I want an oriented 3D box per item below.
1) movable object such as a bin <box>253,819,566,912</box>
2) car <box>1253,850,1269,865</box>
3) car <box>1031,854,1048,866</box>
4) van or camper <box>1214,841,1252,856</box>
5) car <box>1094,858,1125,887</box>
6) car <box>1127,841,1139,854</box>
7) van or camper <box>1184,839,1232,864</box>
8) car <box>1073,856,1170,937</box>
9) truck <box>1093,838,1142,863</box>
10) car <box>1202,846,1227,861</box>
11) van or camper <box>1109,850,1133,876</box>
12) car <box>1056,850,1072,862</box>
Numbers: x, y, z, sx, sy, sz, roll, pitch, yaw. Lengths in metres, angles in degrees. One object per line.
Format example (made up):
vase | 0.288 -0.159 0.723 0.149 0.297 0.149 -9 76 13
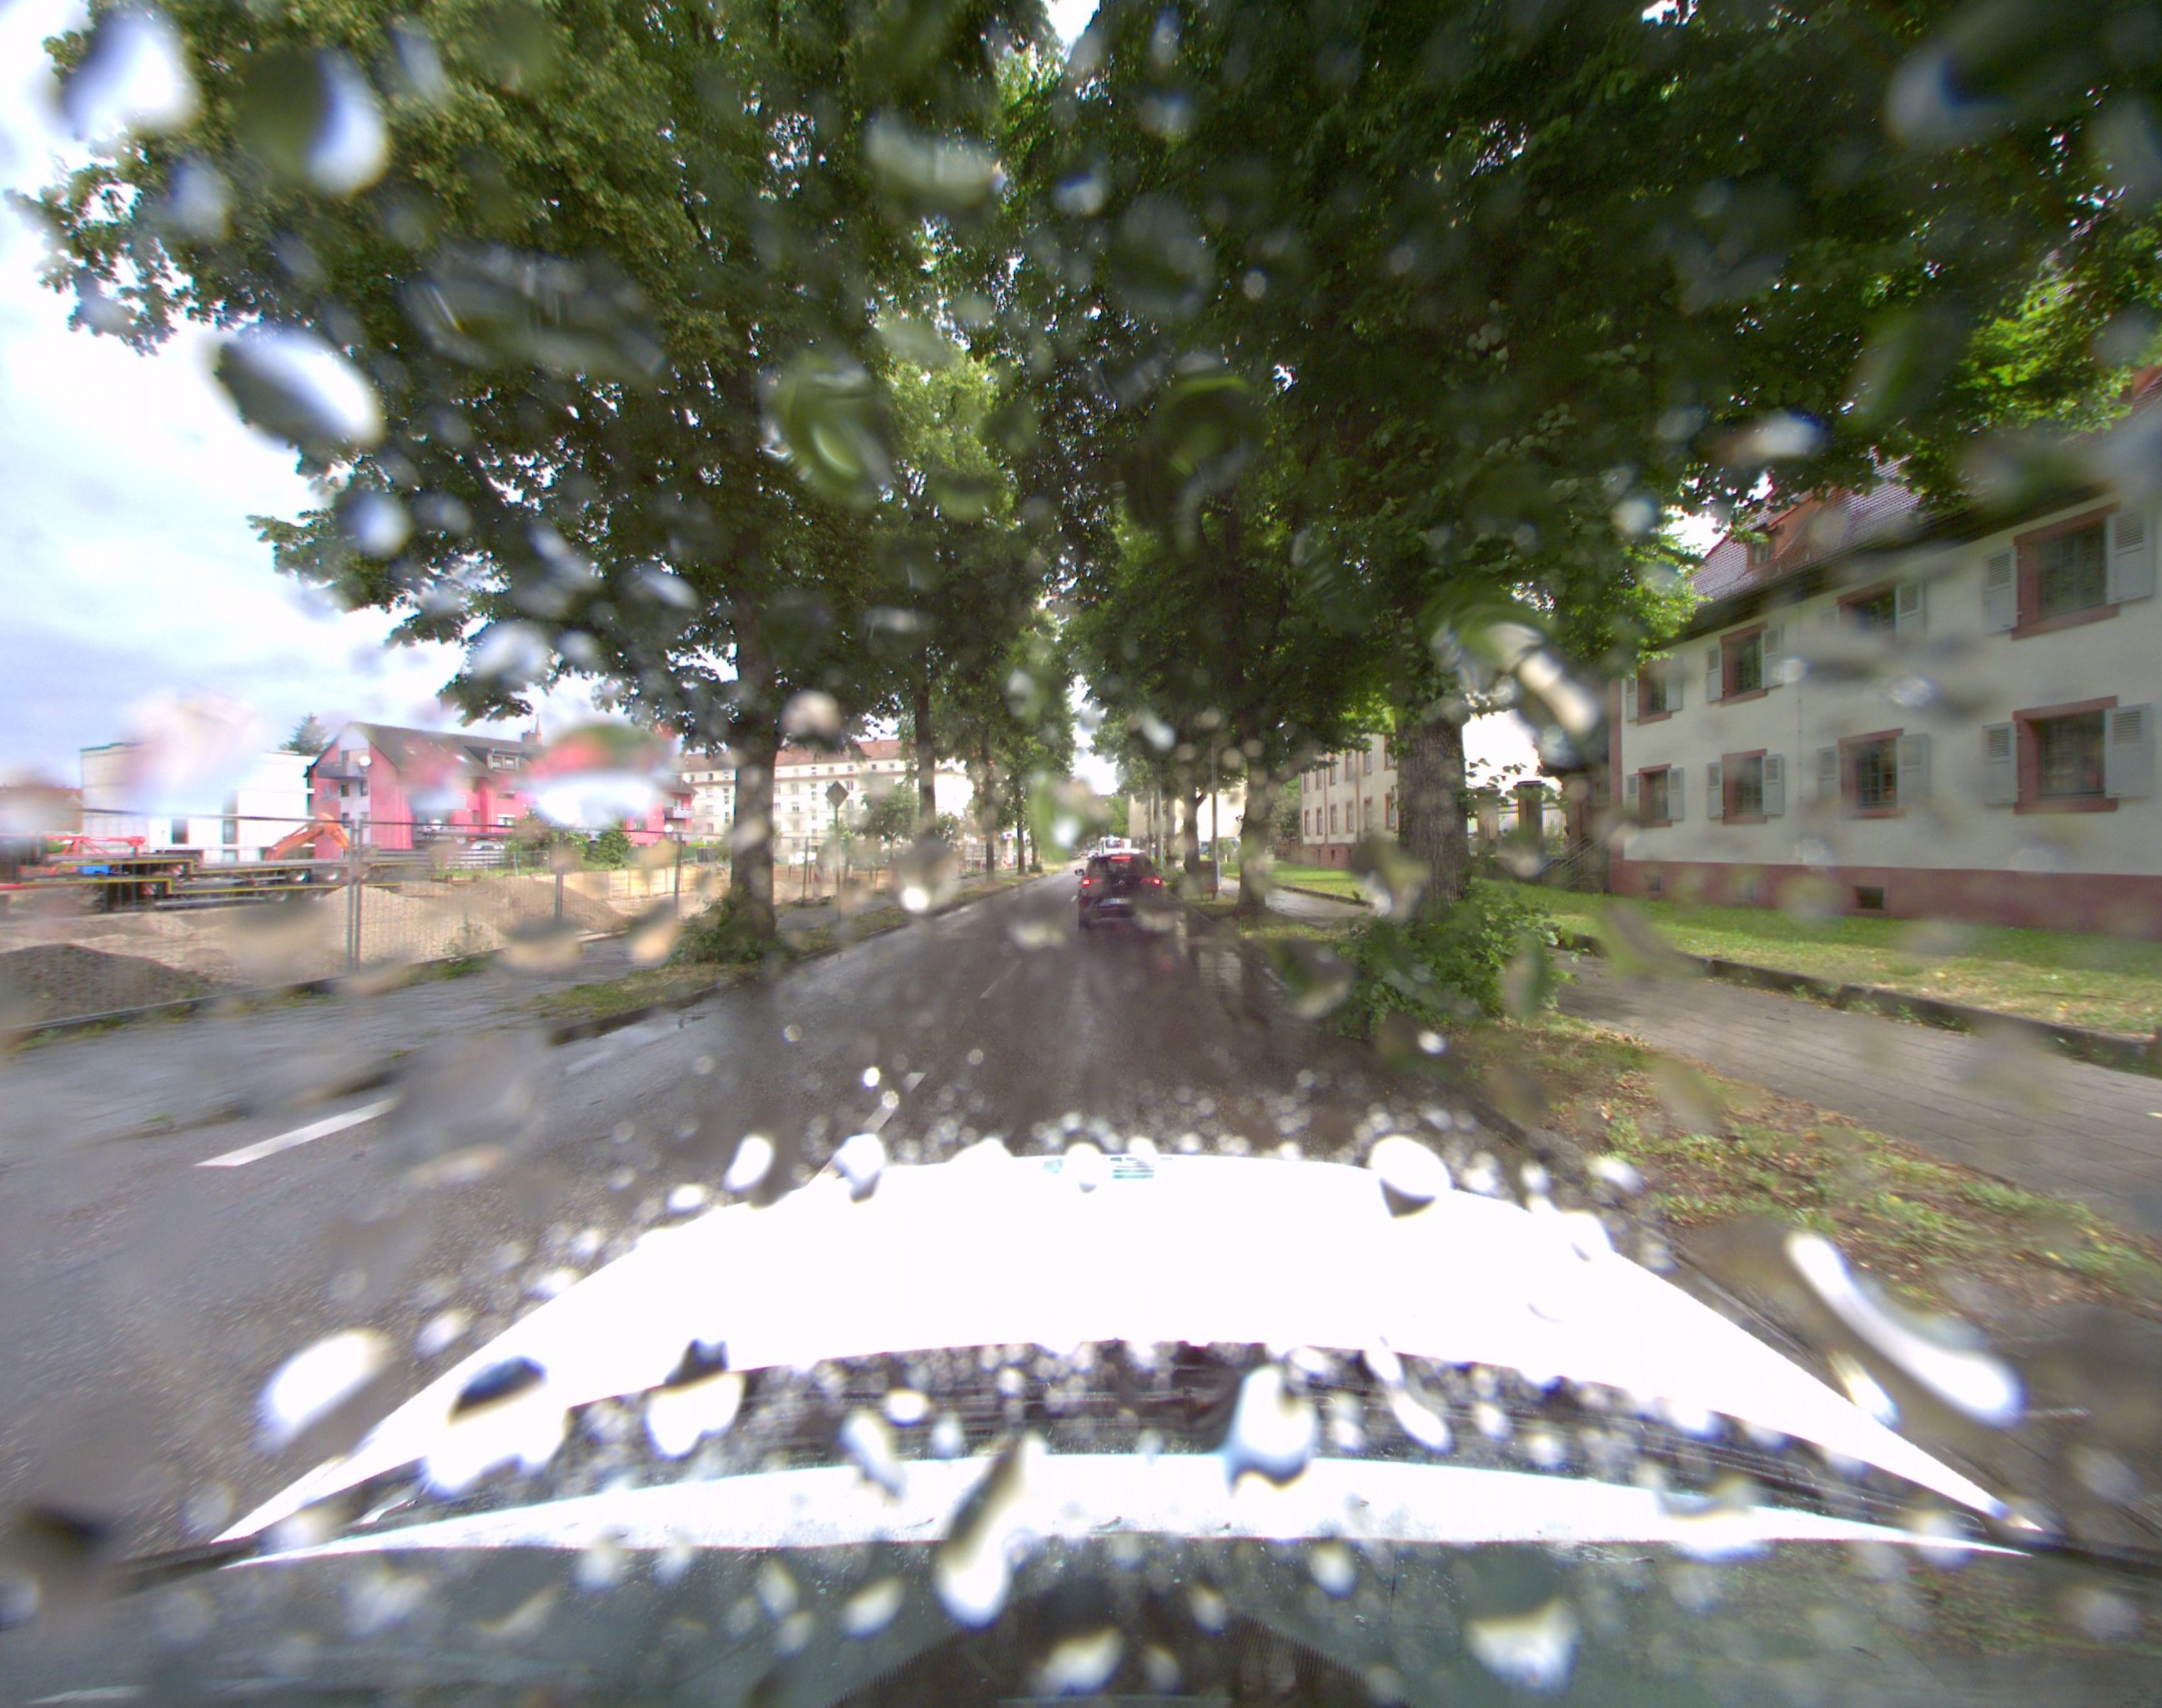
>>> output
movable object such as a bin | -49.868 0.588 61.898 6.805 6.043 16.846 0 1 26
car | 23.258 0.461 105.334 1.732 1.684 3.880 -4 0 9
car | -5.920 0.823 116.725 1.582 1.512 3.741 -4 0 8
van or camper | 20.369 -0.729 109.286 4.855 1.925 2.133 -1 1 3
car | 1.903 1.172 53.555 1.671 1.708 3.916 -4 -1 5
car | 8.788 -1.045 138.109 1.985 2.013 4.003 -2 0 3
van or camper | 14.372 -0.261 92.190 5.015 2.596 2.168 -2 0 1
car | 0.864 0.827 17.927 1.887 1.522 4.002 -1 0 2
truck | 4.005 -0.453 91.835 2.813 2.656 8.192 -1 1 -18
car | 19.517 -0.076 119.197 3.385 1.781 1.765 -4 0 11
van or camper | 3.191 0.675 64.038 1.811 1.947 4.199 -1 0 4
car | -2.455 0.245 118.804 1.582 1.512 3.741 -4 0 8
